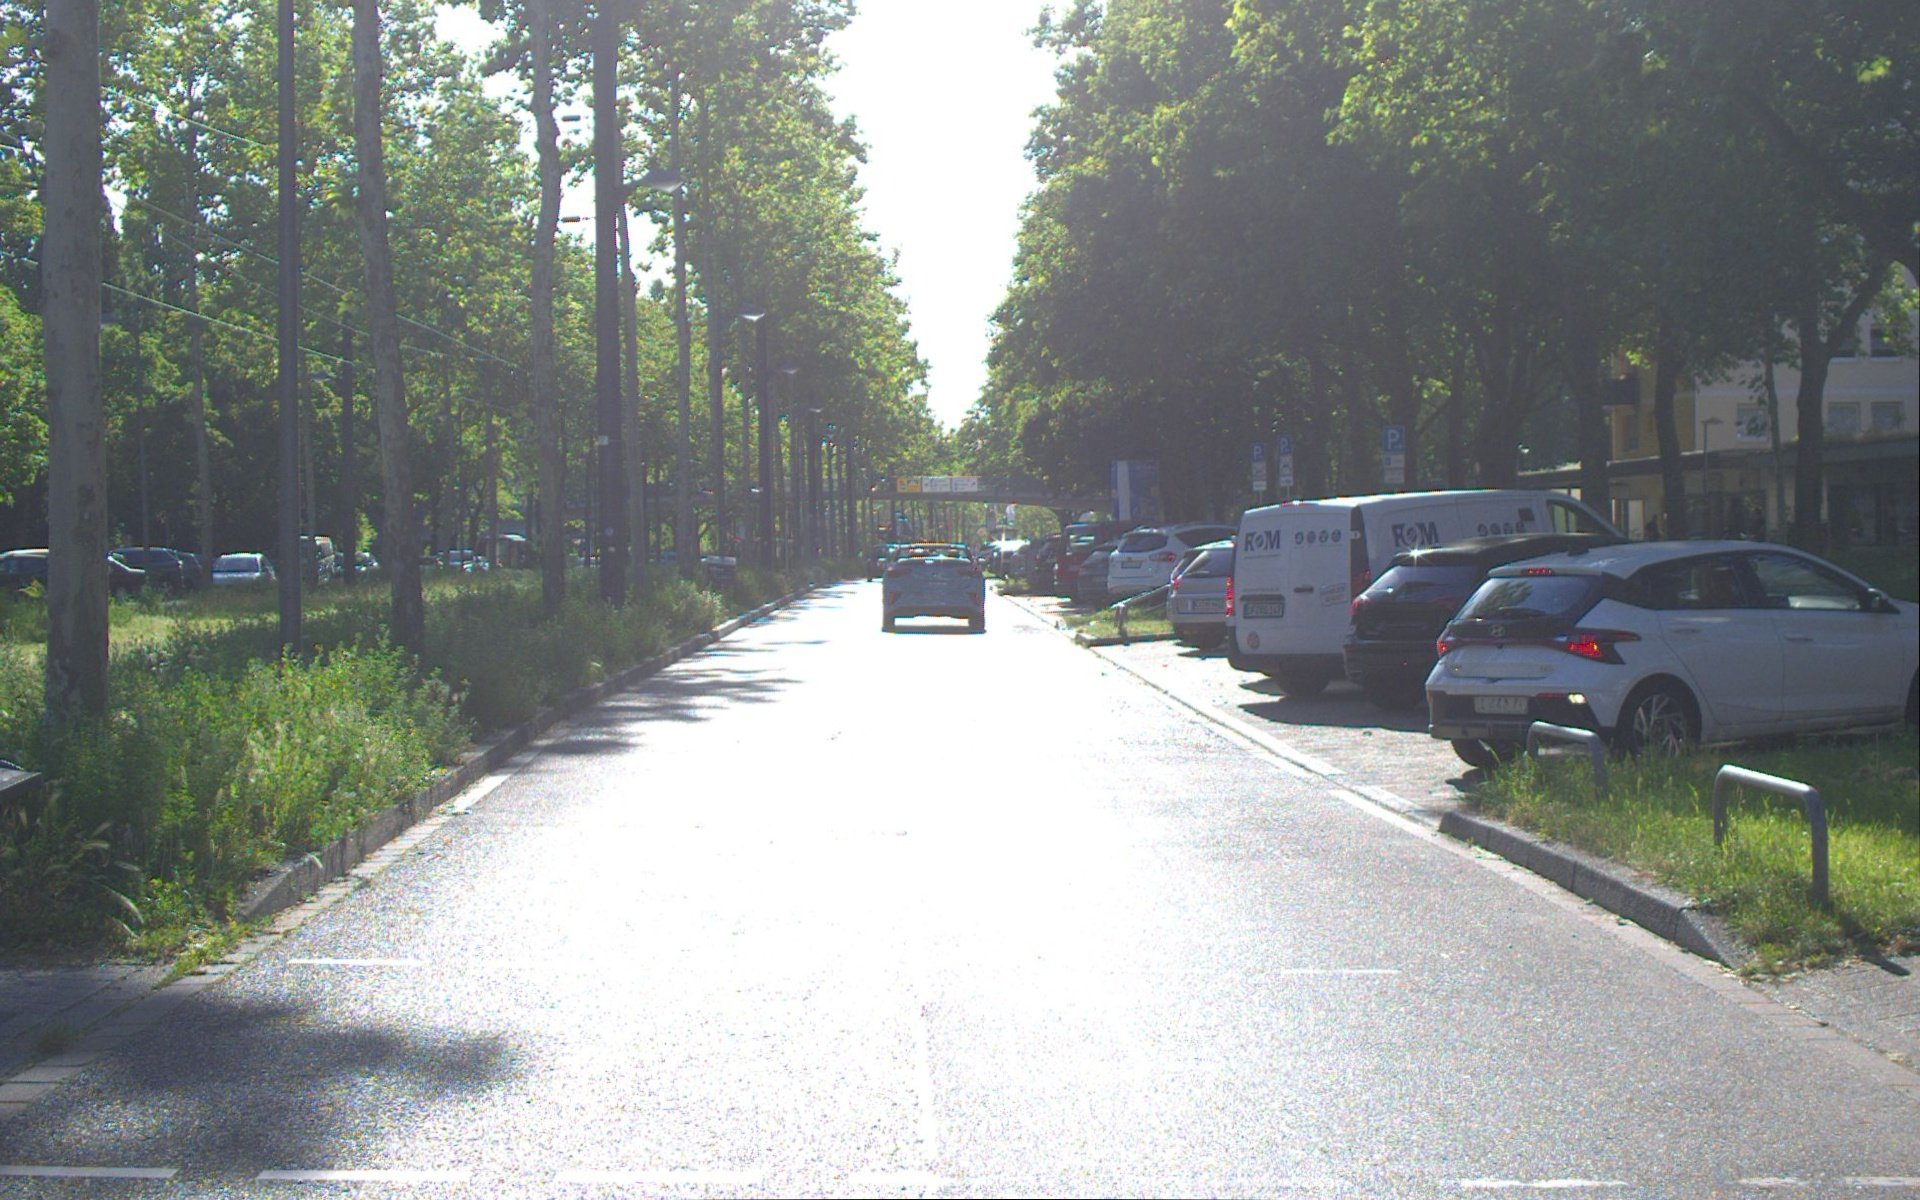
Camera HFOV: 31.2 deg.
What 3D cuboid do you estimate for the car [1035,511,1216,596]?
[{"bbox_3d":[3.838,-1.081,79.279,4.073,1.804,1.650,-3,1,-40],"label":"car"}]

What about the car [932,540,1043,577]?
[{"bbox_3d":[1.168,-1.723,142.639,1.978,1.454,4.613,0,1,43],"label":"car"}]

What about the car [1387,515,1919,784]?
[{"bbox_3d":[4.979,0.269,22.771,3.986,1.464,1.761,-4,2,-32],"label":"car"}]

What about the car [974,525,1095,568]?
[{"bbox_3d":[2.705,-1.941,124.415,4.318,1.420,1.855,-3,2,-44],"label":"car"}]

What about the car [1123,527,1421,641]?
[{"bbox_3d":[4.322,-0.235,47.241,4.174,1.407,1.719,-3,2,-44],"label":"car"}]

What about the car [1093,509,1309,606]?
[{"bbox_3d":[4.622,-0.828,65.580,4.017,1.699,1.760,-3,1,-42],"label":"car"}]

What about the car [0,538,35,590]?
[{"bbox_3d":[-27.182,-0.949,92.402,4.121,1.333,1.795,-2,3,-43],"label":"car"}]

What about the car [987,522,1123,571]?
[{"bbox_3d":[3.174,-1.784,114.037,4.482,1.438,1.855,-3,2,-44],"label":"car"}]

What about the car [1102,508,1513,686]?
[{"bbox_3d":[3.779,-0.062,36.870,4.490,1.699,1.760,-3,1,-42],"label":"car"}]

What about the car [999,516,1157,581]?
[{"bbox_3d":[3.255,-1.430,94.087,4.308,1.711,1.635,-2,2,-39],"label":"car"}]

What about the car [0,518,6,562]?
[{"bbox_3d":[-38.522,-2.232,129.862,4.474,1.669,1.794,-2,1,-43],"label":"car"}]

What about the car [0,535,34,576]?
[{"bbox_3d":[-38.423,-1.707,133.377,4.474,1.563,1.794,-2,1,-43],"label":"car"}]

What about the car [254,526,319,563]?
[{"bbox_3d":[-27.559,-2.277,140.784,1.872,1.448,3.574,2,1,1],"label":"car"}]

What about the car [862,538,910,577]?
[{"bbox_3d":[-3.022,-1.763,140.894,1.849,1.530,3.866,-1,1,0],"label":"car"}]

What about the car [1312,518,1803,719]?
[{"bbox_3d":[5.137,0.125,29.355,3.986,1.424,1.799,-4,2,-36],"label":"car"}]

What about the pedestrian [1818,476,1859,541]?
[{"bbox_3d":[25.982,-2.707,101.715,0.872,1.907,0.872,-1,1,-9],"label":"pedestrian"}]

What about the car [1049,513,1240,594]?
[{"bbox_3d":[3.720,-0.940,68.917,3.777,1.465,1.650,-3,2,-44],"label":"car"}]

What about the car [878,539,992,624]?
[{"bbox_3d":[-0.471,-0.345,60.276,1.922,1.406,4.000,0,1,-1],"label":"car"}]

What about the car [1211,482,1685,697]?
[{"bbox_3d":[4.743,-0.144,32.982,4.658,1.846,1.830,-3,1,-41],"label":"car"}]

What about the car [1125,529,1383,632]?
[{"bbox_3d":[4.398,-0.298,51.042,3.928,1.368,1.587,-3,2,-44],"label":"car"}]

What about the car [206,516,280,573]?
[{"bbox_3d":[-27.315,-2.111,131.013,1.645,2.086,4.915,2,1,1],"label":"car"}]
